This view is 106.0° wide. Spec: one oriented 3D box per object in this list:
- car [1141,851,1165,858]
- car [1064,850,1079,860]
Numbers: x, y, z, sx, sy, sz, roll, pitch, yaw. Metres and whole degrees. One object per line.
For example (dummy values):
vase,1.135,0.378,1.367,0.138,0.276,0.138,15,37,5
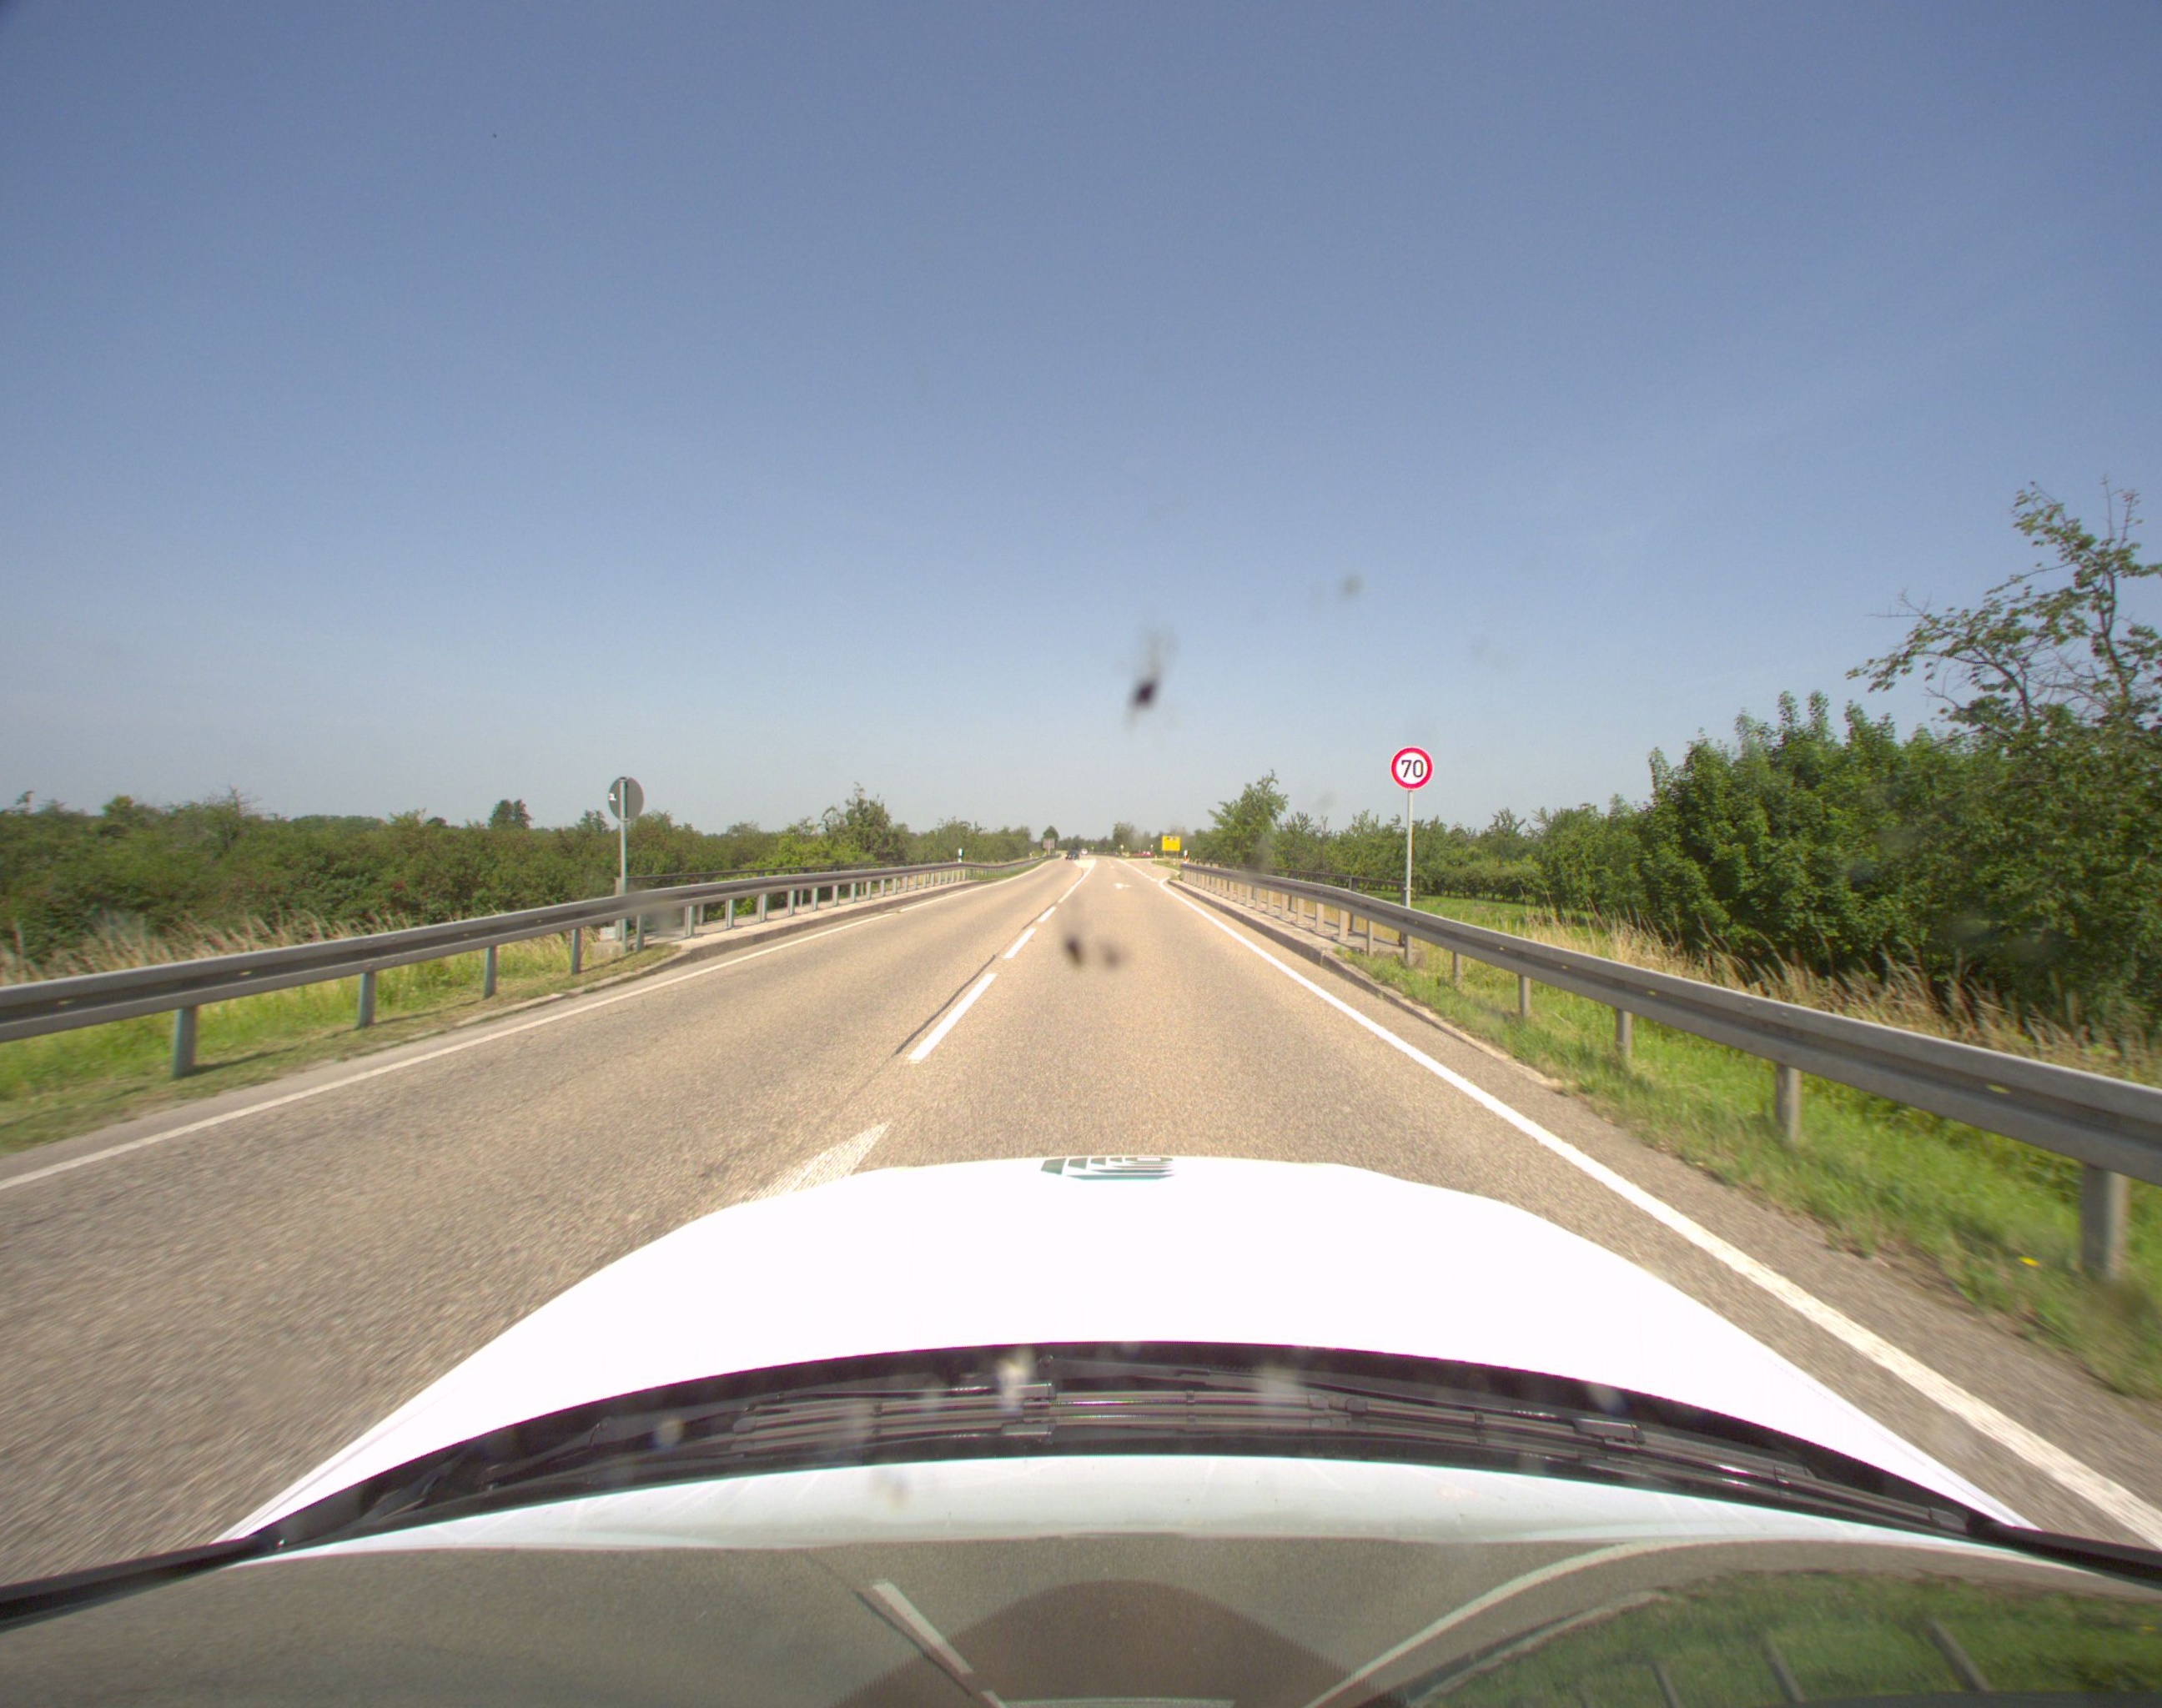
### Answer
car,13.690,0.104,154.790,4.455,1.449,1.825,0,0,7
car,-1.552,0.162,138.127,1.793,1.637,4.821,0,0,9
